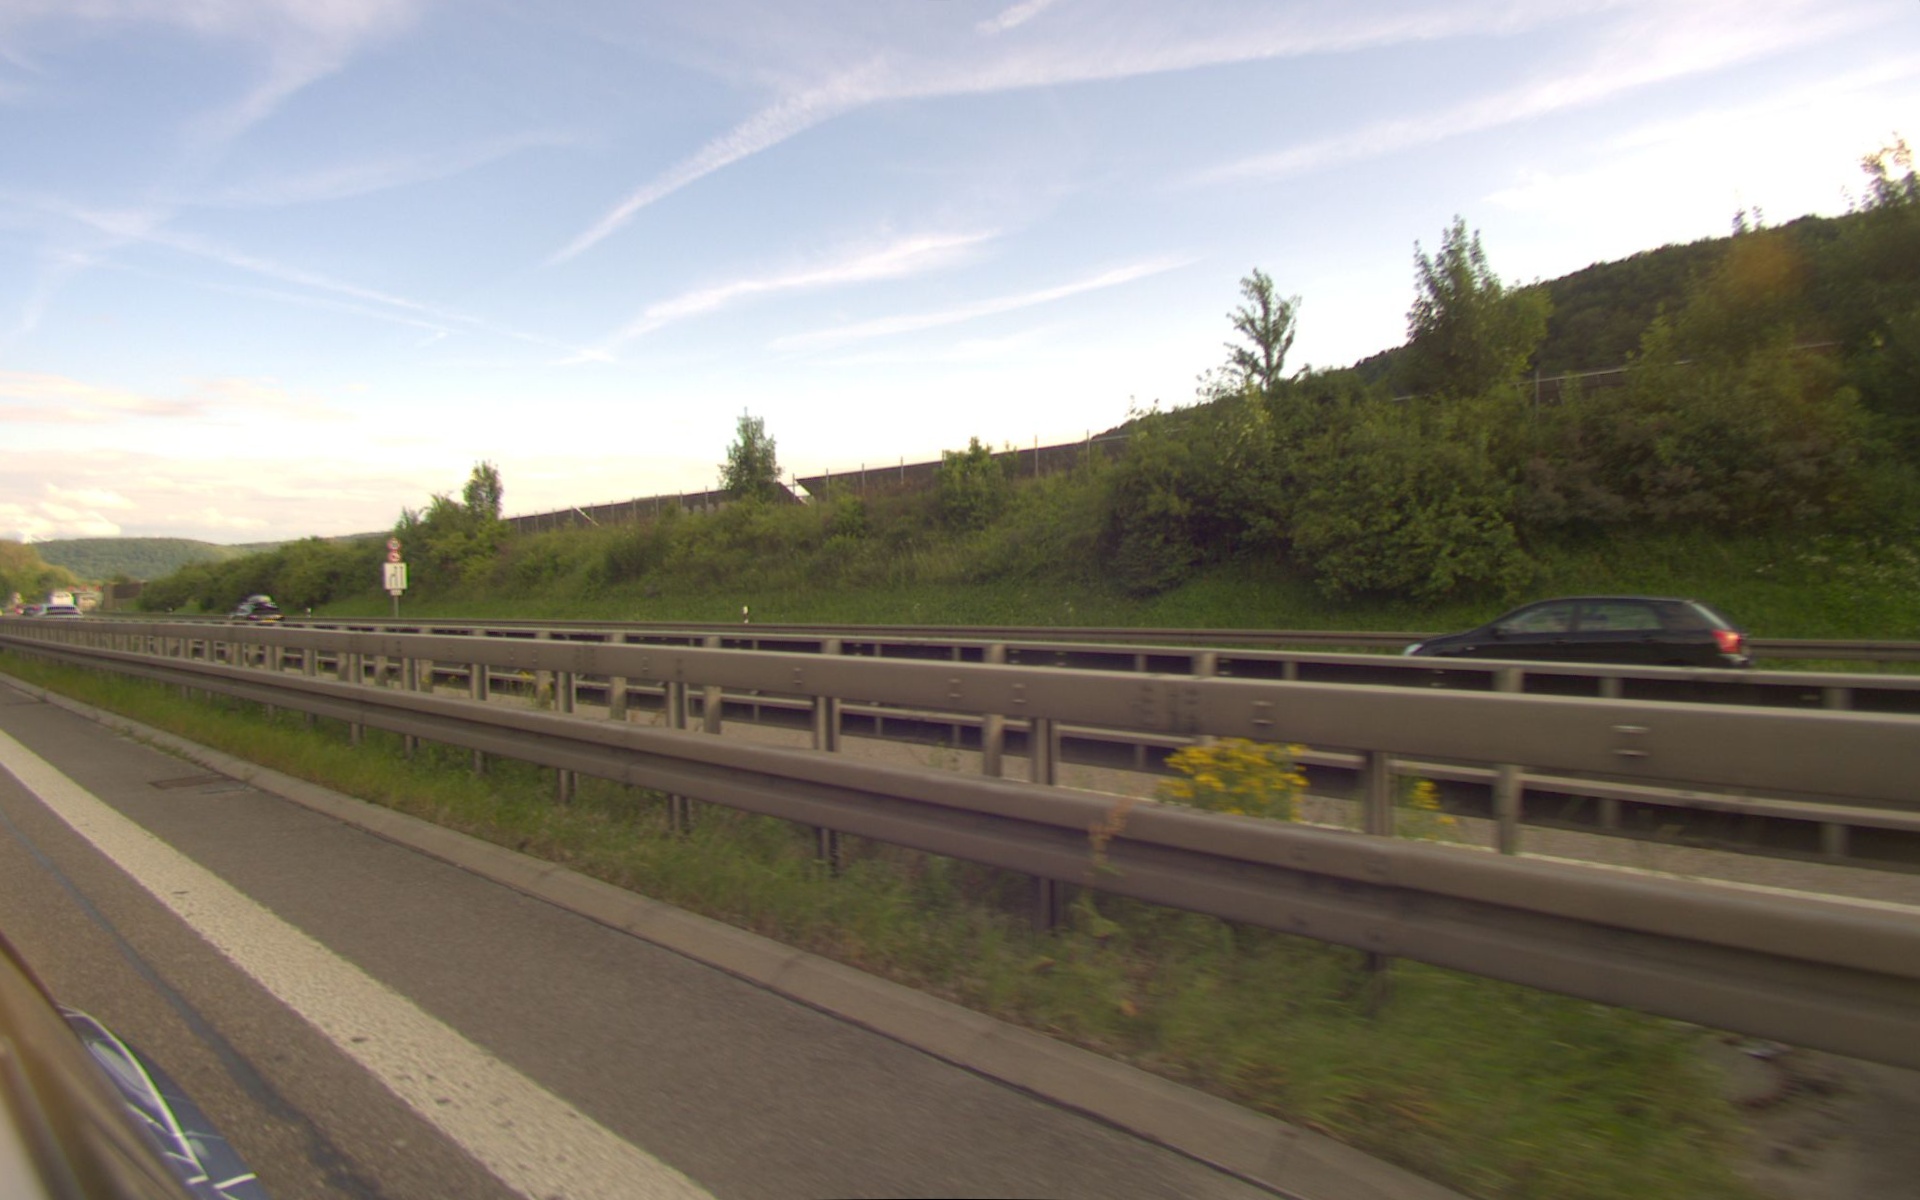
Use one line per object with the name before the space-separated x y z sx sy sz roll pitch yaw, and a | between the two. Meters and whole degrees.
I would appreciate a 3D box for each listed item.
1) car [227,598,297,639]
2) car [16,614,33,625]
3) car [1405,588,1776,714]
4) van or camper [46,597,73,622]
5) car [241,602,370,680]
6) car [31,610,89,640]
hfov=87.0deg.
car | -37.673 0.969 54.585 5.017 2.055 1.942 -1 0 41
car | -139.544 2.888 150.972 4.346 1.669 1.625 -1 0 44
car | 8.257 0.585 13.445 3.997 1.426 1.689 -1 0 40
van or camper | -133.738 1.459 150.301 7.980 3.578 2.454 -1 0 44
car | -15.598 0.914 24.023 4.346 1.669 1.625 -1 0 44
car | -50.059 1.355 56.265 5.017 1.603 1.814 -1 0 41
